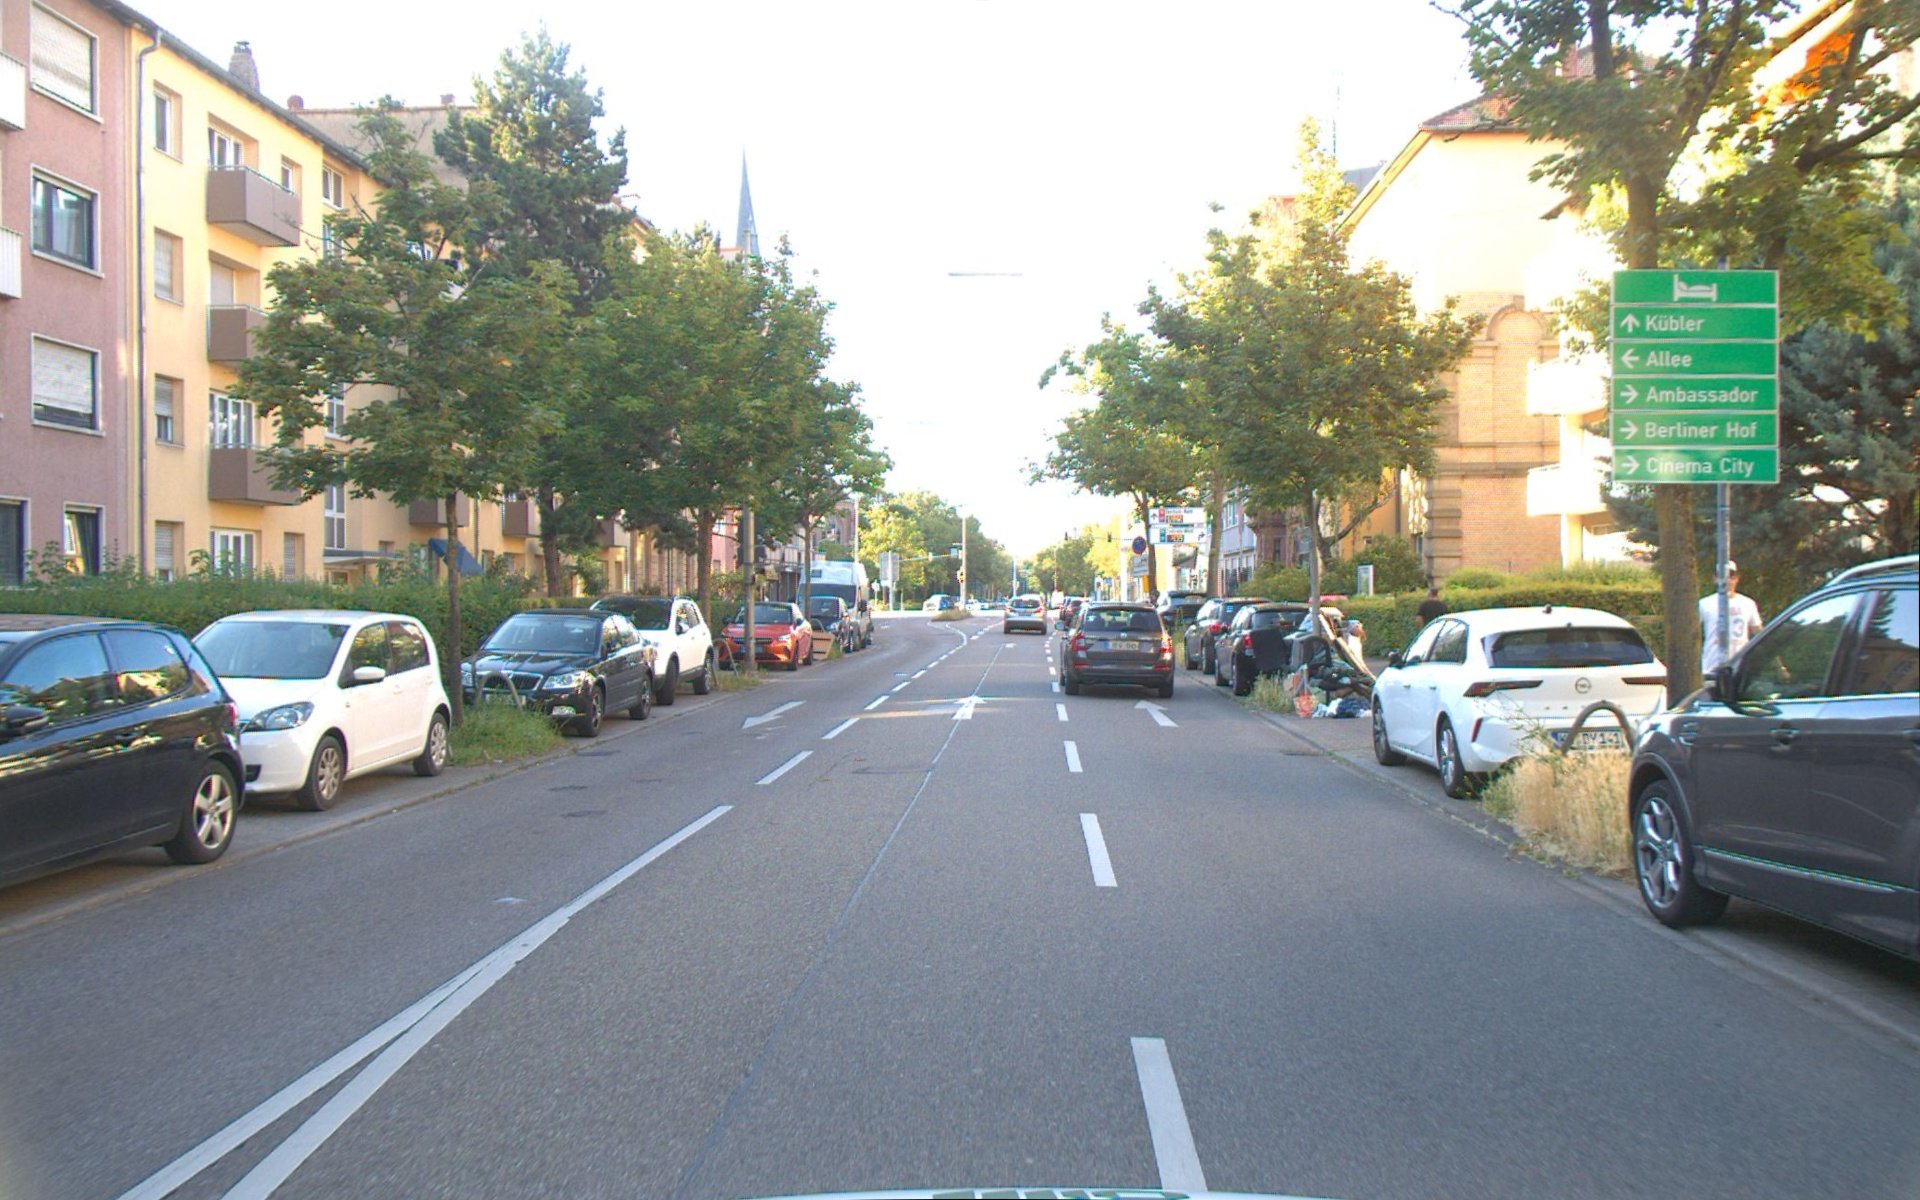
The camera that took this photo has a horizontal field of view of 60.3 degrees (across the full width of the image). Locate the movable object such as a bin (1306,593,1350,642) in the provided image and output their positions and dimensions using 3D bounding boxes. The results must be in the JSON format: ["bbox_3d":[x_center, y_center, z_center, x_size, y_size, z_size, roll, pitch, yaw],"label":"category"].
[{"bbox_3d":[11.176,0.519,50.228,1.226,1.467,0.995,-1,0,17],"label":"movable object such as a bin"}]

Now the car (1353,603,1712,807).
[{"bbox_3d":[4.687,0.774,14.223,1.725,1.426,4.335,-1,0,2],"label":"car"}]

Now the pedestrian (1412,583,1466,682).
[{"bbox_3d":[8.100,0.548,27.976,0.731,1.644,0.580,-1,0,1],"label":"pedestrian"}]

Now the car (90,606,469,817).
[{"bbox_3d":[-5.475,0.822,13.814,1.558,1.518,3.642,0,0,2],"label":"car"}]

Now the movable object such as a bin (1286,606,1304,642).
[{"bbox_3d":[10.166,0.737,50.174,0.483,1.077,0.548,-1,0,15],"label":"movable object such as a bin"}]

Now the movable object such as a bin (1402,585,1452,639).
[{"bbox_3d":[14.085,0.355,49.916,1.133,1.583,0.993,-1,0,-7],"label":"movable object such as a bin"}]

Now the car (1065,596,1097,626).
[{"bbox_3d":[6.395,0.581,87.749,1.616,1.510,4.241,1,0,3],"label":"car"}]

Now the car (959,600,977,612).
[{"bbox_3d":[0.836,0.662,180.860,1.743,1.258,4.002,0,0,3],"label":"car"}]

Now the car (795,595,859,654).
[{"bbox_3d":[-3.724,0.663,46.552,1.374,1.575,2.763,1,0,4],"label":"car"}]

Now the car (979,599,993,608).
[{"bbox_3d":[3.622,0.499,228.629,1.743,1.258,4.002,0,0,3],"label":"car"}]

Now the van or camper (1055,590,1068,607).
[{"bbox_3d":[15.905,-0.244,259.868,1.951,2.686,5.353,0,0,4],"label":"van or camper"}]

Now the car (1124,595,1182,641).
[{"bbox_3d":[6.906,0.608,59.501,1.817,1.539,4.837,-2,0,4],"label":"car"}]

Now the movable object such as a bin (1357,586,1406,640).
[{"bbox_3d":[12.778,0.386,50.145,1.133,1.583,0.993,-1,0,-7],"label":"movable object such as a bin"}]

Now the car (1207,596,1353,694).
[{"bbox_3d":[5.295,0.688,27.875,1.733,1.474,4.486,-1,0,2],"label":"car"}]

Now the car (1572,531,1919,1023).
[{"bbox_3d":[4.277,0.583,6.714,1.877,1.711,4.708,-2,0,1],"label":"car"}]

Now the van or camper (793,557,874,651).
[{"bbox_3d":[-3.878,0.122,51.512,1.994,2.710,6.015,2,0,0],"label":"van or camper"}]

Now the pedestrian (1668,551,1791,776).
[{"bbox_3d":[6.475,0.530,13.948,0.654,1.814,0.764,2,-2,2],"label":"pedestrian"}]

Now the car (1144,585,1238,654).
[{"bbox_3d":[5.951,0.486,43.139,1.907,1.684,4.797,-1,0,2],"label":"car"}]

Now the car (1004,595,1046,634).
[{"bbox_3d":[2.690,0.576,68.176,1.672,1.536,4.310,1,0,3],"label":"car"}]

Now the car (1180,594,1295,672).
[{"bbox_3d":[5.743,0.637,34.670,1.681,1.498,4.432,-1,0,1],"label":"car"}]

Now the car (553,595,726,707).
[{"bbox_3d":[-4.971,0.731,26.204,1.739,1.616,4.187,0,0,3],"label":"car"}]

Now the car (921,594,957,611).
[{"bbox_3d":[-1.965,0.221,153.236,1.610,1.521,3.299,0,0,-40],"label":"car"}]

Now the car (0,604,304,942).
[{"bbox_3d":[-5.364,0.823,8.802,1.799,1.544,4.317,1,0,3],"label":"car"}]

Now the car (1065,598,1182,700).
[{"bbox_3d":[2.564,0.725,26.725,1.672,1.482,4.160,0,0,3],"label":"car"}]

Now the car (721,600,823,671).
[{"bbox_3d":[-4.188,0.766,37.376,1.681,1.477,3.924,0,0,2],"label":"car"}]

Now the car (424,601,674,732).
[{"bbox_3d":[-5.104,0.769,21.208,1.952,1.473,4.459,-1,0,2],"label":"car"}]
